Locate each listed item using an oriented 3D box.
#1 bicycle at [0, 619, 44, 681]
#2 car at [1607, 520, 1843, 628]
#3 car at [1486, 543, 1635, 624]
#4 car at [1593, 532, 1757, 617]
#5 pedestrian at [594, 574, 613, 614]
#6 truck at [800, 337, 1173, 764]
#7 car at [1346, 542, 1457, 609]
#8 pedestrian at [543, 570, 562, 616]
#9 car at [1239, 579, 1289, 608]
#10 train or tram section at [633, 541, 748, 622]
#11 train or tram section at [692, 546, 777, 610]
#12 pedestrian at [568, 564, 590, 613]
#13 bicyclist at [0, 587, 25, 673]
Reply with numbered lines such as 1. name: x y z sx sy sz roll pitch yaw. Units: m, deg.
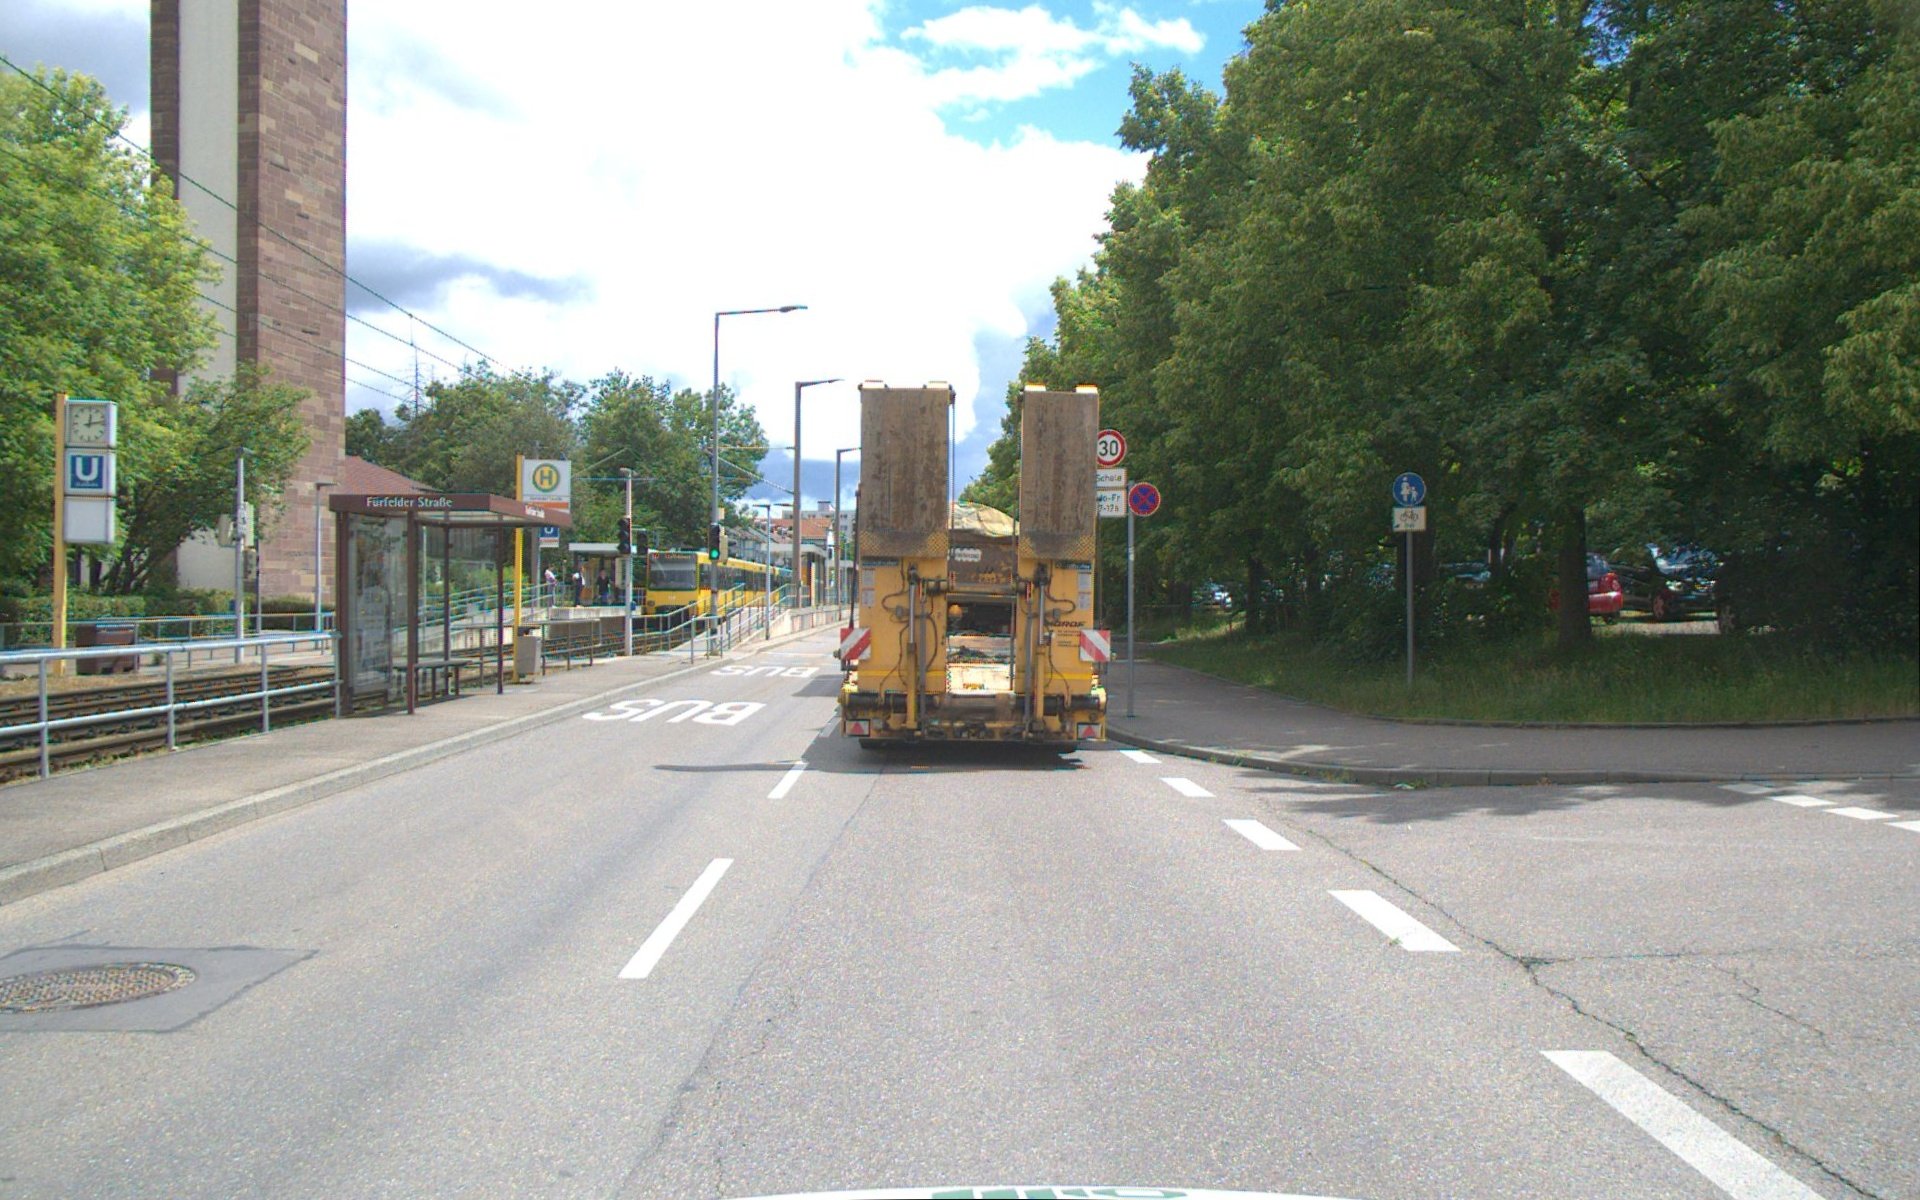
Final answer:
1. bicycle: -16.408 0.845 28.109 0.624 1.011 1.928 2 0 -1
2. car: 12.087 -0.363 26.409 1.787 1.538 3.811 -1 -2 -4
3. car: 12.363 -0.315 34.280 1.627 1.526 3.661 -2 0 -1
4. car: 14.788 -0.498 34.426 1.717 1.610 3.661 -2 0 -1
5. pedestrian: -15.547 -0.271 72.188 0.626 1.737 0.645 2 0 -1
6. truck: -0.179 -0.433 21.700 3.335 3.797 13.728 0 0 -4
7. car: 11.238 -0.601 42.359 1.594 1.541 4.137 -3 0 -1
8. pedestrian: -16.329 -0.282 66.281 0.572 1.809 0.576 2 0 -1
9. car: 15.819 -0.328 86.236 1.803 1.445 4.123 -2 0 -1
10. train or tram section: -13.359 -0.834 83.985 3.045 3.525 18.820 2 0 -1
11. train or tram section: -13.793 -1.252 102.918 3.045 3.525 18.990 2 0 -1
12. pedestrian: -16.266 -0.480 70.622 0.698 2.049 0.731 2 0 -3
13. bicyclist: -16.465 0.499 28.151 0.620 1.454 0.790 2 0 -2
